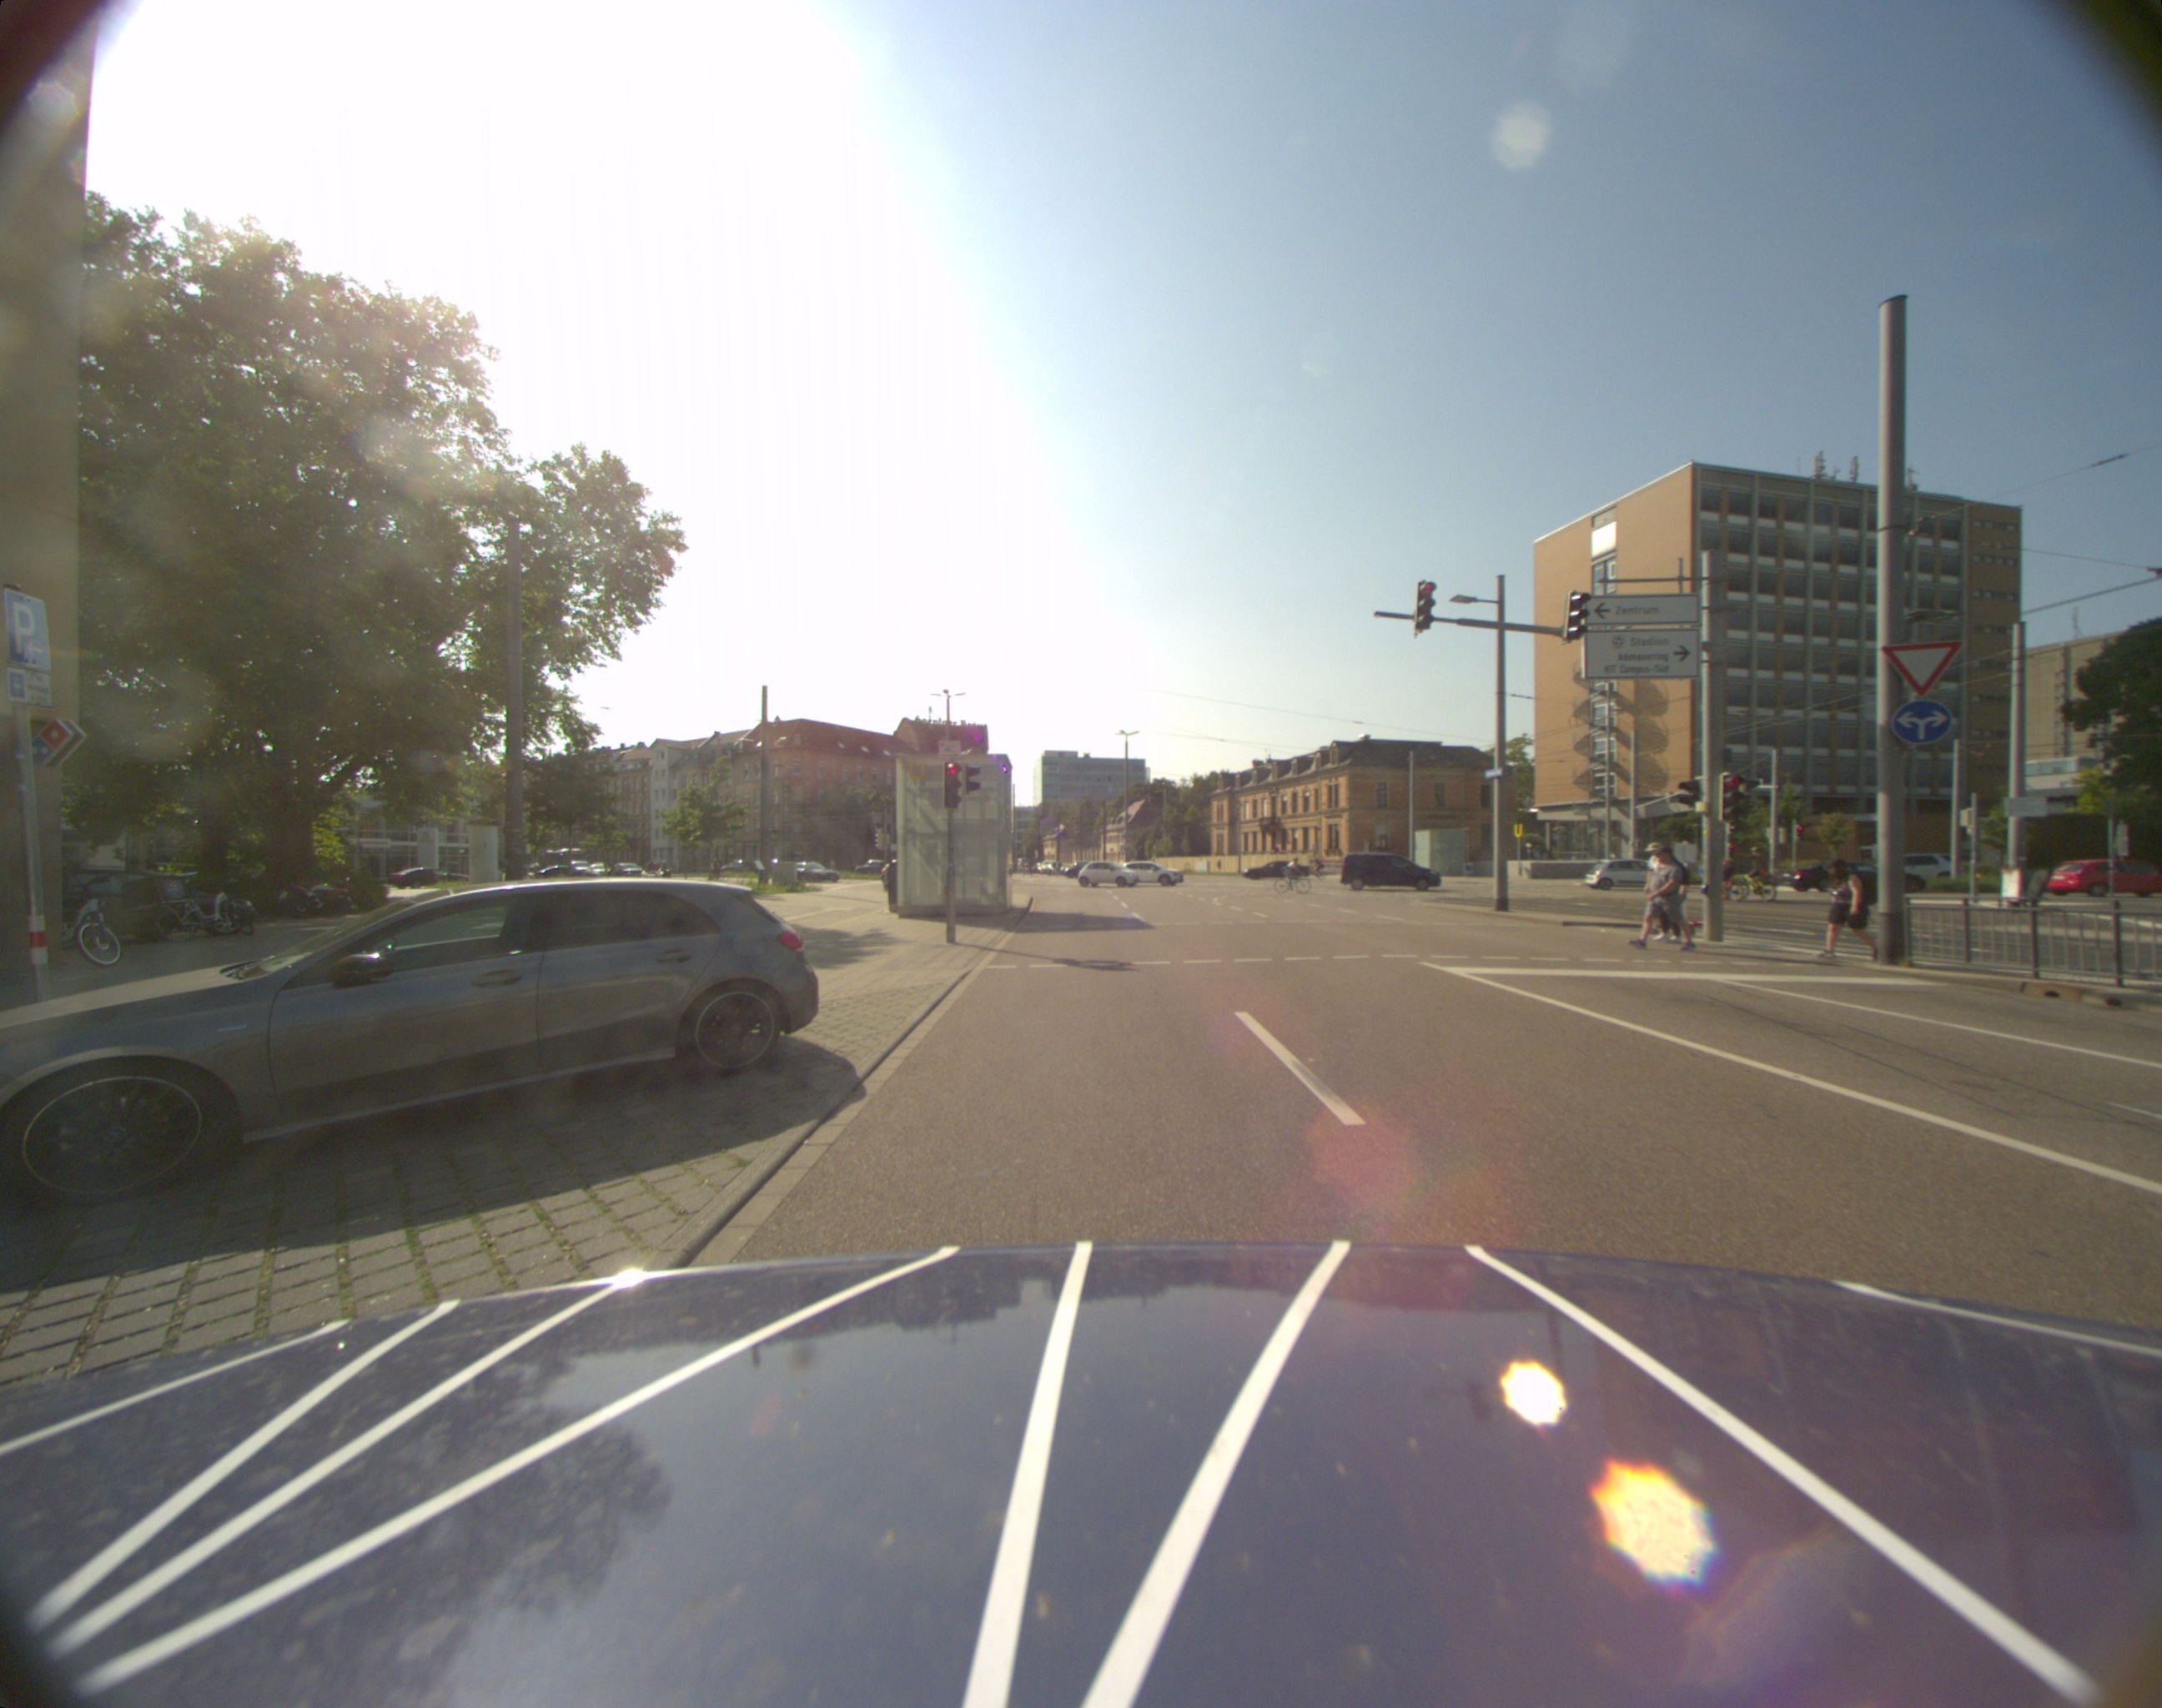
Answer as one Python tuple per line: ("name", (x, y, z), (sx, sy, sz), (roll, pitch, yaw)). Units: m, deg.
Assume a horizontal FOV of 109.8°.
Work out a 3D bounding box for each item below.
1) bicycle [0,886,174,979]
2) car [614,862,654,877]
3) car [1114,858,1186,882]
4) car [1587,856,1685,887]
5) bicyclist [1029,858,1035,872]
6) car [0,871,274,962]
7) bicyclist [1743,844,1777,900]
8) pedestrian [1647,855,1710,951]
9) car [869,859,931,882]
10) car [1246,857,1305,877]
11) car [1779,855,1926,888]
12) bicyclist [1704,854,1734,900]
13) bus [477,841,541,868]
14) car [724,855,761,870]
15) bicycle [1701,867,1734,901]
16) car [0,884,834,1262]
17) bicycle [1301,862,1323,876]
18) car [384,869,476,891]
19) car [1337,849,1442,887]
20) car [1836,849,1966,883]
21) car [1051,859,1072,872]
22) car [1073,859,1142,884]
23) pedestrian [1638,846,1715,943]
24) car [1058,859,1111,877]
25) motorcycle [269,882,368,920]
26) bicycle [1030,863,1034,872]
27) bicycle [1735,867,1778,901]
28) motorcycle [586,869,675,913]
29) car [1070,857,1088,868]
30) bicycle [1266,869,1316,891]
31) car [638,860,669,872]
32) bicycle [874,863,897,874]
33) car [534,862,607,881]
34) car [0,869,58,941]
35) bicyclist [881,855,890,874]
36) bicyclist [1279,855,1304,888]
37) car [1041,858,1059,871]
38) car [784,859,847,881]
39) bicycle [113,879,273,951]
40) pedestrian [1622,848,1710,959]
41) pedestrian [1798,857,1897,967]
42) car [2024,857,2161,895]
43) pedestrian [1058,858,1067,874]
("bicycle", (-13.789, 1.046, 10.368), (2.022, 1.199, 0.671), (0, 0, 0))
("car", (-42.394, 1.453, 72.065), (3.621, 1.433, 1.807), (0, 0, 31))
("car", (4.221, 0.973, 46.367), (3.989, 1.407, 1.807), (0, 0, 26))
("car", (27.027, 0.827, 37.161), (3.548, 1.427, 1.806), (0, 0, 22))
("bicyclist", (-5.672, 1.319, 88.198), (0.662, 1.627, 0.918), (0, 0, -6))
("car", (-18.599, 1.078, 14.588), (1.660, 1.432, 4.195), (0, 0, 1))
("bicyclist", (24.049, 0.631, 26.915), (0.580, 1.963, 0.808), (0, 0, 15))
("pedestrian", (10.260, 0.827, 13.054), (0.634, 1.588, 0.468), (2, 1, -2))
("car", (-12.233, 1.088, 51.278), (3.893, 1.433, 1.807), (0, 0, 31))
("car", (15.149, 1.020, 59.290), (4.315, 1.456, 1.677), (0, -2, 20))
("car", (35.134, 0.791, 34.749), (4.340, 1.443, 1.806), (0, 0, 19))
("bicyclist", (22.674, 0.805, 27.009), (0.511, 1.620, 0.808), (0, 0, 15))
("bus", (-66.768, 0.084, 88.499), (11.463, 2.966, 2.904), (0, 0, 37))
("car", (-39.127, 0.979, 87.809), (4.278, 1.614, 1.819), (0, -1, 33))
("bicycle", (22.707, 1.059, 27.122), (0.311, 1.158, 1.501), (0, 0, 16))
("car", (-4.110, 1.008, 4.862), (4.418, 1.415, 1.842), (-1, 1, -41))
("bicycle", (19.768, 1.243, 65.167), (1.767, 1.187, 0.402), (0, 0, 34))
("car", (-45.001, 1.775, 52.619), (1.995, 1.362, 4.406), (0, 0, 25))
("car", (15.419, 0.695, 38.085), (4.761, 1.817, 1.806), (0, 0, 23))
("car", (43.331, 0.644, 40.291), (4.281, 1.696, 1.955), (0, -2, 16))
("car", (-2.254, 1.284, 87.173), (1.927, 1.368, 3.997), (0, 0, -8))
("car", (1.563, 1.006, 44.081), (3.607, 1.407, 1.806), (0, 0, 20))
("pedestrian", (11.416, 0.753, 14.592), (0.834, 1.778, 0.729), (2, 1, 8))
("car", (0.313, 1.200, 65.379), (4.280, 1.456, 1.677), (0, -2, 20))
("motorcycle", (-22.469, 1.374, 22.454), (0.704, 0.996, 1.959), (0, 0, 16))
("bicycle", (-5.747, 1.550, 88.444), (0.401, 1.084, 1.927), (0, 0, -6))
("bicycle", (24.099, 1.066, 27.134), (0.376, 1.158, 1.861), (0, -1, 16))
("motorcycle", (-12.767, 1.016, 21.637), (0.704, 1.140, 2.304), (0, 0, 16))
("car", (-0.276, 1.029, 92.457), (1.693, 1.319, 3.997), (0, 0, -8))
("bicycle", (9.817, 1.211, 35.552), (2.192, 0.983, 0.530), (1, 2, 25))
("car", (-53.271, 1.504, 94.706), (3.770, 1.439, 1.680), (0, -1, 30))
("bicycle", (-19.363, 1.428, 75.156), (2.184, 1.089, 0.529), (0, 0, 7))
("car", (-40.001, 1.350, 59.550), (1.994, 1.362, 4.408), (0, 0, 43))
("car", (-23.799, 1.080, 14.916), (1.998, 1.498, 4.000), (0, 0, 1))
("bicyclist", (-19.329, 1.044, 75.139), (0.709, 1.851, 0.782), (0, 0, 6))
("bicyclist", (9.841, 0.804, 35.535), (0.969, 1.466, 1.089), (0, 1, 24))
("car", (-3.951, 1.269, 97.493), (1.927, 1.626, 3.997), (0, 0, -8))
("car", (-19.198, 1.127, 54.888), (3.990, 1.586, 2.003), (0, 0, 23))
("bicycle", (-17.141, 1.131, 14.771), (0.524, 1.227, 2.300), (0, 0, -4))
("pedestrian", (9.234, 0.762, 12.026), (0.816, 1.683, 0.651), (2, 1, 0))
("pedestrian", (11.247, 0.834, 11.168), (0.810, 1.539, 0.548), (2, 1, 2))
("car", (40.258, 0.834, 29.661), (3.992, 1.407, 1.806), (0, 0, 17))
("pedestrian", (-1.961, 1.234, 80.764), (0.792, 1.677, 0.661), (0, 0, 9))
